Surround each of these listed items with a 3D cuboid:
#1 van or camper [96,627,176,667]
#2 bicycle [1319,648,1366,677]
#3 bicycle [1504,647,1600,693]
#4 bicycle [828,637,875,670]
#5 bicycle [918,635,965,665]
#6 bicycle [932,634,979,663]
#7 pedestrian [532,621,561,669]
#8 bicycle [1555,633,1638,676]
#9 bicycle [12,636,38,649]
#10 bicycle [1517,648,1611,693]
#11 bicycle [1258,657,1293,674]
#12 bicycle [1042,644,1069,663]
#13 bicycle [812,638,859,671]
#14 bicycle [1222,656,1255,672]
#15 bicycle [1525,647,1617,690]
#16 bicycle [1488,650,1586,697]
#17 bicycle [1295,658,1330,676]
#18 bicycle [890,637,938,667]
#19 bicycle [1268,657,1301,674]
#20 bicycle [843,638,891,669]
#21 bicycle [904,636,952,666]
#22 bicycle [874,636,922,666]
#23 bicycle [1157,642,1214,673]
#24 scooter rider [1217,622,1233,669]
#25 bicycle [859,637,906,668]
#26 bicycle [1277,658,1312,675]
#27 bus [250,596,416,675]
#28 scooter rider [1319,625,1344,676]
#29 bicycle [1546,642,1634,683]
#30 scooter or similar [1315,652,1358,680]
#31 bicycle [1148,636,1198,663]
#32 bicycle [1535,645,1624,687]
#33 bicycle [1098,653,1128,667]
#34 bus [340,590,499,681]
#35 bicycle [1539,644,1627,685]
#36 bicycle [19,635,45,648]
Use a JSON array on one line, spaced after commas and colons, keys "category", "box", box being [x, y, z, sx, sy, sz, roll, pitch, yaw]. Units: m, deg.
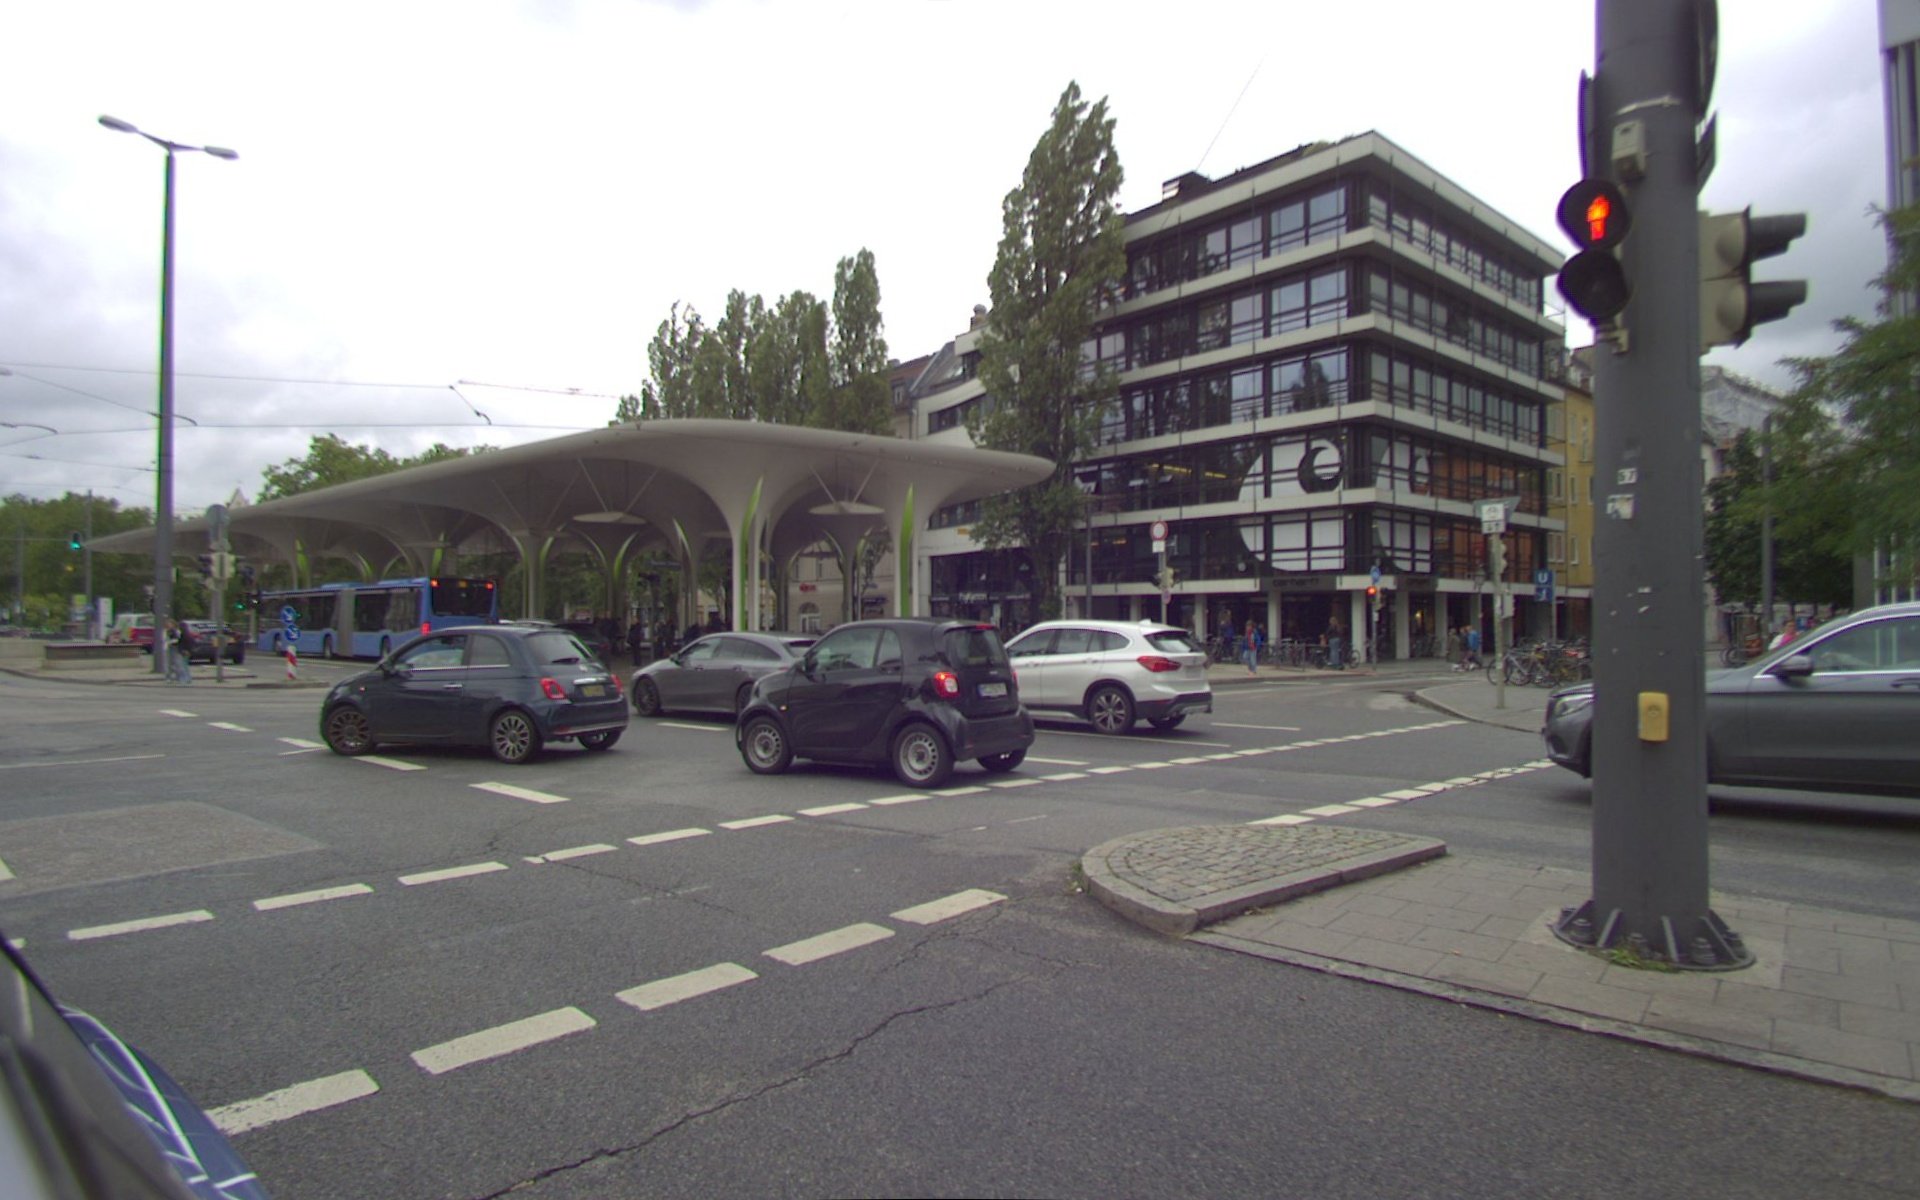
[{"category": "van or camper", "box": [-40.002, 2.263, 49.077, 5.434, 1.840, 1.909, -2, -2, 39]}, {"category": "bicycle", "box": [14.547, 2.377, 38.483, 1.611, 1.082, 0.429, 0, -2, -1]}, {"category": "bicycle", "box": [14.656, 1.713, 25.083, 1.985, 1.005, 0.521, 1, 0, 41]}, {"category": "bicycle", "box": [-3.999, 1.948, 37.210, 0.633, 1.133, 2.169, 1, -2, -40]}, {"category": "bicycle", "box": [-0.740, 1.941, 39.714, 0.645, 1.127, 2.186, 1, -2, -39]}, {"category": "bicycle", "box": [-0.186, 1.921, 40.142, 0.645, 1.127, 2.186, 1, -2, -39]}, {"category": "pedestrian", "box": [-14.552, 1.580, 35.603, 0.740, 1.687, 0.630, -1, -1, 9]}, {"category": "bicycle", "box": [17.780, 1.506, 28.285, 1.893, 1.119, 0.578, 0, -1, 42]}, {"category": "bicycle", "box": [-87.376, 3.920, 94.544, 0.560, 1.181, 1.676, -2, -2, 30]}, {"category": "bicycle", "box": [15.382, 1.781, 25.798, 1.985, 1.005, 0.521, 1, 0, 41]}, {"category": "bicycle", "box": [12.841, 2.656, 41.183, 1.607, 0.637, 0.430, 1, -2, -35]}, {"category": "bicycle", "box": [4.873, 2.733, 51.519, 0.449, 0.933, 1.804, -2, -2, 38]}, {"category": "bicycle", "box": [-4.534, 1.967, 36.786, 0.633, 1.133, 2.169, 1, -2, -40]}, {"category": "bicycle", "box": [11.715, 2.688, 42.546, 1.607, 0.637, 0.364, 1, -2, -35]}, {"category": "bicycle", "box": [15.905, 1.762, 26.371, 1.985, 1.005, 0.521, 1, 0, 41]}, {"category": "bicycle", "box": [13.860, 1.745, 24.362, 1.985, 1.005, 0.521, 1, 0, 41]}, {"category": "bicycle", "box": [13.864, 2.628, 39.838, 1.607, 0.637, 0.430, 1, -2, -35]}, {"category": "bicycle", "box": [-1.791, 1.978, 38.919, 0.645, 1.127, 2.186, 1, -2, -39]}, {"category": "bicycle", "box": [13.100, 2.649, 40.821, 1.607, 0.637, 0.364, 1, -2, -35]}, {"category": "bicycle", "box": [-3.475, 1.964, 37.617, 0.645, 1.127, 2.186, 1, -2, -39]}, {"category": "bicycle", "box": [-1.267, 1.959, 39.325, 0.645, 1.127, 2.186, 1, -2, -39]}, {"category": "bicycle", "box": [-2.376, 1.925, 38.448, 0.645, 1.127, 2.186, 1, -2, -39]}, {"category": "bicycle", "box": [7.208, 1.821, 32.337, 1.718, 0.946, 0.452, 0, -1, 21]}, {"category": "scooter rider", "box": [10.613, 1.810, 40.538, 0.604, 1.853, 0.553, -1, -2, 13]}, {"category": "bicycle", "box": [-2.938, 1.945, 38.026, 0.645, 1.127, 2.186, 1, -2, -39]}, {"category": "bicycle", "box": [13.367, 2.642, 40.431, 1.607, 0.637, 0.430, 1, -2, -35]}, {"category": "bus", "box": [-26.841, 1.528, 43.024, 10.504, 3.031, 2.634, -2, -4, 39]}, {"category": "scooter rider", "box": [13.733, 1.860, 37.390, 0.667, 1.849, 0.612, -2, -2, 41]}, {"category": "bicycle", "box": [17.332, 1.710, 27.880, 1.985, 1.005, 0.521, 1, 0, 41]}, {"category": "scooter or similar", "box": [13.852, 2.415, 37.241, 1.403, 0.989, 0.409, -2, -2, 41]}, {"category": "bicycle", "box": [7.740, 1.788, 36.720, 1.704, 0.946, 0.456, 1, -1, -7]}, {"category": "bicycle", "box": [16.503, 1.740, 26.992, 1.985, 1.005, 0.521, 1, 0, 41]}, {"category": "bicycle", "box": [7.230, 2.843, 47.823, 1.607, 0.637, 0.364, 1, -2, -35]}, {"category": "bus", "box": [-19.977, 1.316, 37.210, 7.510, 3.031, 2.632, -2, -4, 42]}, {"category": "bicycle", "box": [16.876, 1.727, 27.452, 1.985, 1.005, 0.521, 1, 0, 41]}, {"category": "bicycle", "box": [-86.267, 3.885, 94.058, 0.560, 1.181, 1.676, -2, -2, 30]}]
